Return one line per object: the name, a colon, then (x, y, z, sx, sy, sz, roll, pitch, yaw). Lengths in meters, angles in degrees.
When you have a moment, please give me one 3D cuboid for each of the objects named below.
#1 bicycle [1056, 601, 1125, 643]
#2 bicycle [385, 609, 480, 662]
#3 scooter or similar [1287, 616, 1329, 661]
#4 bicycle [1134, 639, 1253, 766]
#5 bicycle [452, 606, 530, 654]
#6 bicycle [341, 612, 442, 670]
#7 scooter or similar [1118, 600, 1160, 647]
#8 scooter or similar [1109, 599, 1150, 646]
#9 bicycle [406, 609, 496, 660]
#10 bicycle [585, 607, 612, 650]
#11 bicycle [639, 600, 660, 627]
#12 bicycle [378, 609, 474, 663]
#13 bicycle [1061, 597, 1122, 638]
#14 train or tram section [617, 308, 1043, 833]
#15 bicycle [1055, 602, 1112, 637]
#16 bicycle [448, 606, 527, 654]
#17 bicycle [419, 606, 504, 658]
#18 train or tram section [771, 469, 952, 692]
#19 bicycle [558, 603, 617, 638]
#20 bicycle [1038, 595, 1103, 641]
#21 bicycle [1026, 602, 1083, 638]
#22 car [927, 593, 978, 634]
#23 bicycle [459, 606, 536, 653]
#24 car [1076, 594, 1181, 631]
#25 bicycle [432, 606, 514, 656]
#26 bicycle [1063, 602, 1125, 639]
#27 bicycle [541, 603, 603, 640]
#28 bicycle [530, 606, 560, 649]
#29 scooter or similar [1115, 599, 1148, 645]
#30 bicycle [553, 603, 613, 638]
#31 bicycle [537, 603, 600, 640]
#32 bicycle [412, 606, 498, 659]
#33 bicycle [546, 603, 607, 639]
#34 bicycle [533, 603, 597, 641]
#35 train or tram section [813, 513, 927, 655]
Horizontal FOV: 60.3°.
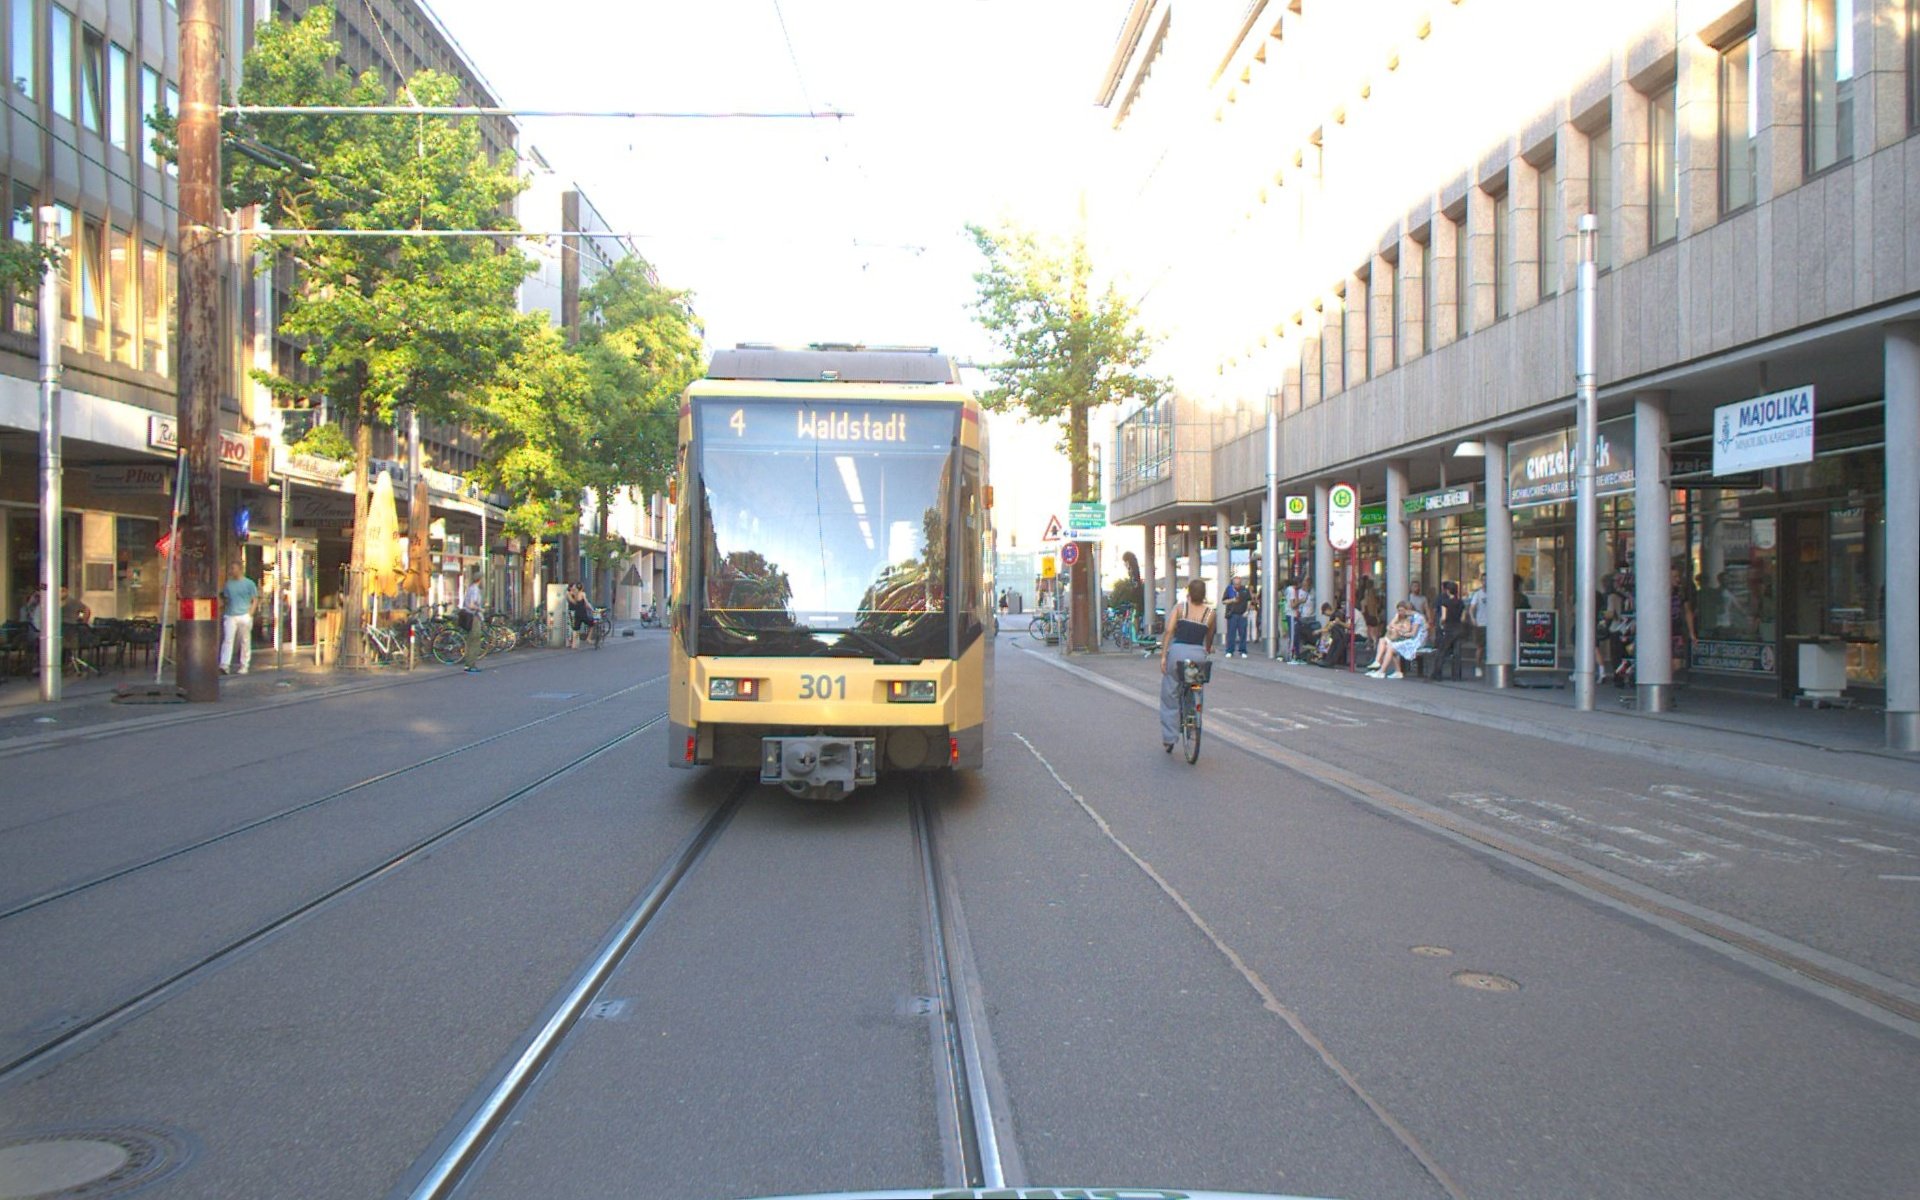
bicycle: (4.006, 0.665, 50.732, 1.958, 1.175, 0.724, -2, 0, -7)
bicycle: (-10.705, 0.720, 33.599, 1.738, 1.007, 0.488, 2, 1, -8)
scooter or similar: (7.234, 0.787, 34.368, 0.815, 0.899, 0.687, 1, 0, 12)
bicycle: (2.260, 0.969, 16.280, 0.798, 1.092, 2.113, 2, 0, -2)
bicycle: (-11.395, 0.722, 40.178, 1.739, 1.090, 0.488, 2, 0, -8)
bicycle: (-10.448, 0.755, 30.394, 1.734, 0.982, 0.490, 2, -1, 14)
scooter or similar: (5.017, 0.646, 46.285, 1.102, 1.273, 0.491, -2, 1, -33)
scooter or similar: (4.818, 0.634, 47.020, 1.176, 1.273, 0.389, -2, 1, -32)
bicycle: (-10.755, 0.723, 35.010, 1.738, 1.007, 0.488, 2, 1, -8)
bicycle: (-9.506, 0.735, 43.530, 0.478, 1.063, 1.776, 1, 1, -5)
bicycle: (-13.803, 0.599, 73.579, 0.488, 1.127, 1.801, 0, 1, 3)
bicycle: (-10.676, 0.719, 33.072, 1.738, 1.007, 0.488, 2, 1, -8)
bicycle: (4.315, 0.578, 54.361, 1.879, 1.244, 0.762, -2, 0, -7)
train or tram section: (-1.164, -0.242, 17.956, 2.744, 3.377, 14.500, 0, 0, -3)
bicycle: (4.169, 0.642, 56.029, 1.816, 1.128, 0.666, -1, 0, -5)
bicycle: (-11.320, 0.721, 39.636, 1.739, 1.090, 0.488, 2, 0, -8)
bicycle: (-11.205, 0.716, 37.179, 1.739, 1.090, 0.488, 2, 0, -8)
train or tram section: (-1.824, -0.343, 32.421, 2.744, 3.377, 14.500, 0, 0, -3)
bicycle: (-11.788, 0.642, 52.395, 1.736, 1.063, 0.489, 2, 0, -3)
bicycle: (3.426, 0.558, 51.519, 1.879, 1.356, 0.724, -2, 0, -7)
bicycle: (3.186, 0.669, 55.805, 1.816, 1.128, 0.666, -1, 0, -5)
car: (-0.249, 0.513, 60.370, 1.733, 1.434, 4.052, 0, -1, 1)
bicycle: (-11.411, 0.723, 40.831, 1.739, 1.090, 0.488, 2, 0, -8)
car: (6.757, 0.509, 66.271, 3.831, 1.434, 1.765, 1, -1, -20)
bicycle: (-11.303, 0.718, 38.416, 1.739, 1.090, 0.488, 2, 0, -8)
bicycle: (4.342, 0.658, 53.615, 1.879, 1.096, 0.762, -2, 0, -7)
bicycle: (-11.707, 0.637, 49.934, 1.736, 1.063, 0.489, 2, 0, -3)
bicycle: (-10.840, 0.717, 43.281, 0.478, 1.063, 1.776, 1, 1, -5)
scooter or similar: (4.955, 0.620, 47.673, 0.385, 1.273, 1.187, -1, 1, 35)
bicycle: (-11.801, 0.641, 51.813, 1.736, 1.063, 0.489, 2, 0, -3)
bicycle: (-11.687, 0.635, 49.363, 1.736, 1.063, 0.489, 2, 0, -3)
bicycle: (-11.163, 0.715, 36.603, 1.739, 1.090, 0.488, 2, 0, -8)
bicycle: (-11.760, 0.638, 50.753, 1.736, 1.063, 0.489, 2, 0, -3)
bicycle: (-11.671, 0.634, 48.861, 1.736, 1.063, 0.489, 2, 0, -3)
train or tram section: (-2.491, -0.431, 46.897, 2.744, 3.377, 14.500, 0, 0, -3)
